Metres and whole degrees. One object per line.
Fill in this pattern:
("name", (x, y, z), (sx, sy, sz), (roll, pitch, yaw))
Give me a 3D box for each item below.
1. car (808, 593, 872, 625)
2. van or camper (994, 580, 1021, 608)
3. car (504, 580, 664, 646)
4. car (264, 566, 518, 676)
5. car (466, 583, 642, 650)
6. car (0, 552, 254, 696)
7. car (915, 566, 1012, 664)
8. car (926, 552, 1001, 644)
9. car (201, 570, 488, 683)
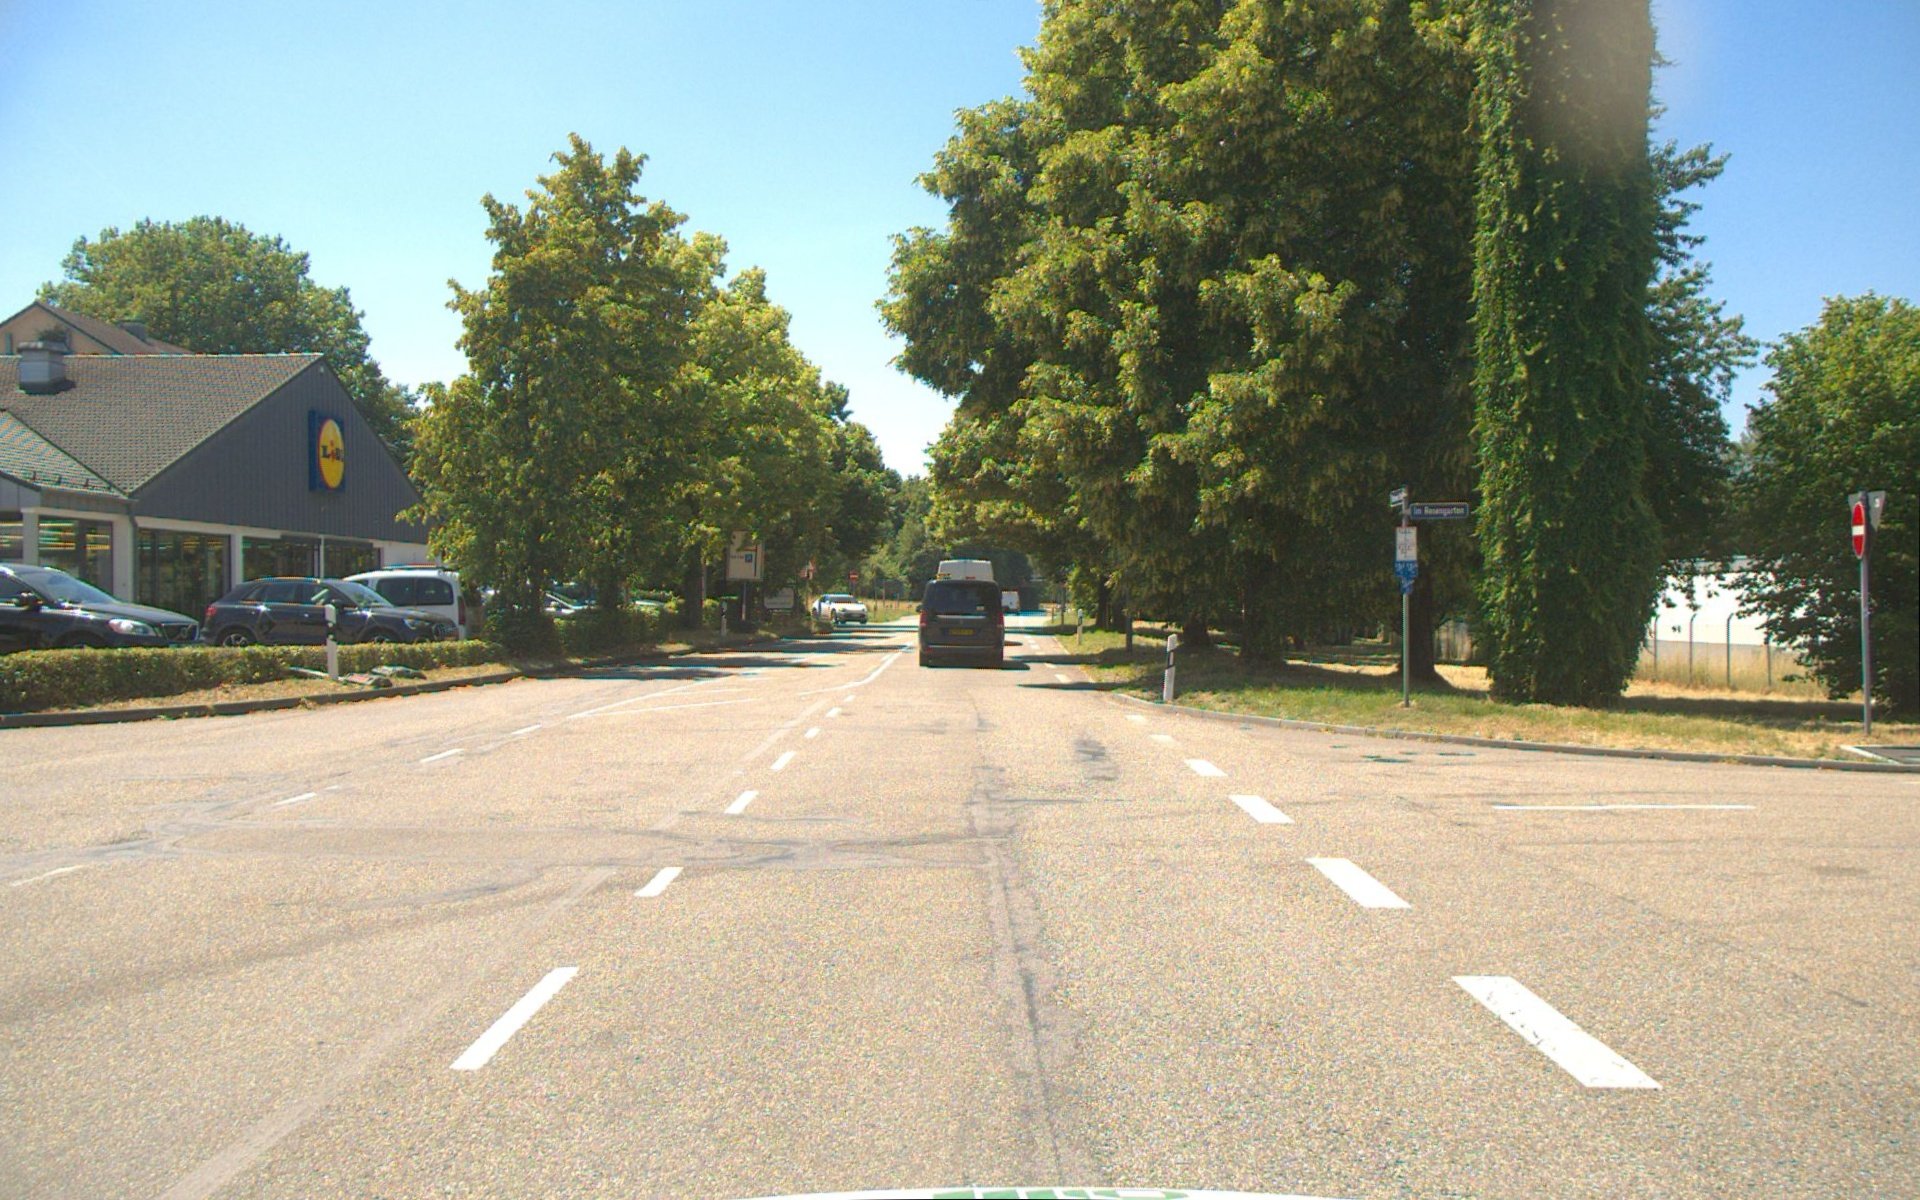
("car", (-6.546, 0.485, 90.118), (2.067, 1.616, 4.441), (2, 0, -24))
("van or camper", (5.326, -0.620, 185.061), (2.579, 2.980, 5.203), (1, -1, -3))
("car", (-11.343, 0.389, 50.079), (4.311, 1.807, 2.072), (2, 0, -1))
("car", (-11.062, 0.415, 32.381), (4.268, 2.015, 1.904), (1, -1, -2))
("car", (-11.049, 0.448, 45.212), (4.311, 1.648, 1.895), (2, 0, -1))
("car", (-12.230, 0.291, 22.137), (4.608, 1.793, 2.099), (1, -1, 5))
("car", (0.058, 0.330, 37.233), (1.953, 1.987, 5.004), (2, 0, 0))
("car", (0.171, -0.046, 52.814), (2.034, 2.750, 4.668), (2, 0, 3))
("car", (-10.974, 0.460, 29.665), (4.292, 1.877, 2.105), (1, -1, 6))
